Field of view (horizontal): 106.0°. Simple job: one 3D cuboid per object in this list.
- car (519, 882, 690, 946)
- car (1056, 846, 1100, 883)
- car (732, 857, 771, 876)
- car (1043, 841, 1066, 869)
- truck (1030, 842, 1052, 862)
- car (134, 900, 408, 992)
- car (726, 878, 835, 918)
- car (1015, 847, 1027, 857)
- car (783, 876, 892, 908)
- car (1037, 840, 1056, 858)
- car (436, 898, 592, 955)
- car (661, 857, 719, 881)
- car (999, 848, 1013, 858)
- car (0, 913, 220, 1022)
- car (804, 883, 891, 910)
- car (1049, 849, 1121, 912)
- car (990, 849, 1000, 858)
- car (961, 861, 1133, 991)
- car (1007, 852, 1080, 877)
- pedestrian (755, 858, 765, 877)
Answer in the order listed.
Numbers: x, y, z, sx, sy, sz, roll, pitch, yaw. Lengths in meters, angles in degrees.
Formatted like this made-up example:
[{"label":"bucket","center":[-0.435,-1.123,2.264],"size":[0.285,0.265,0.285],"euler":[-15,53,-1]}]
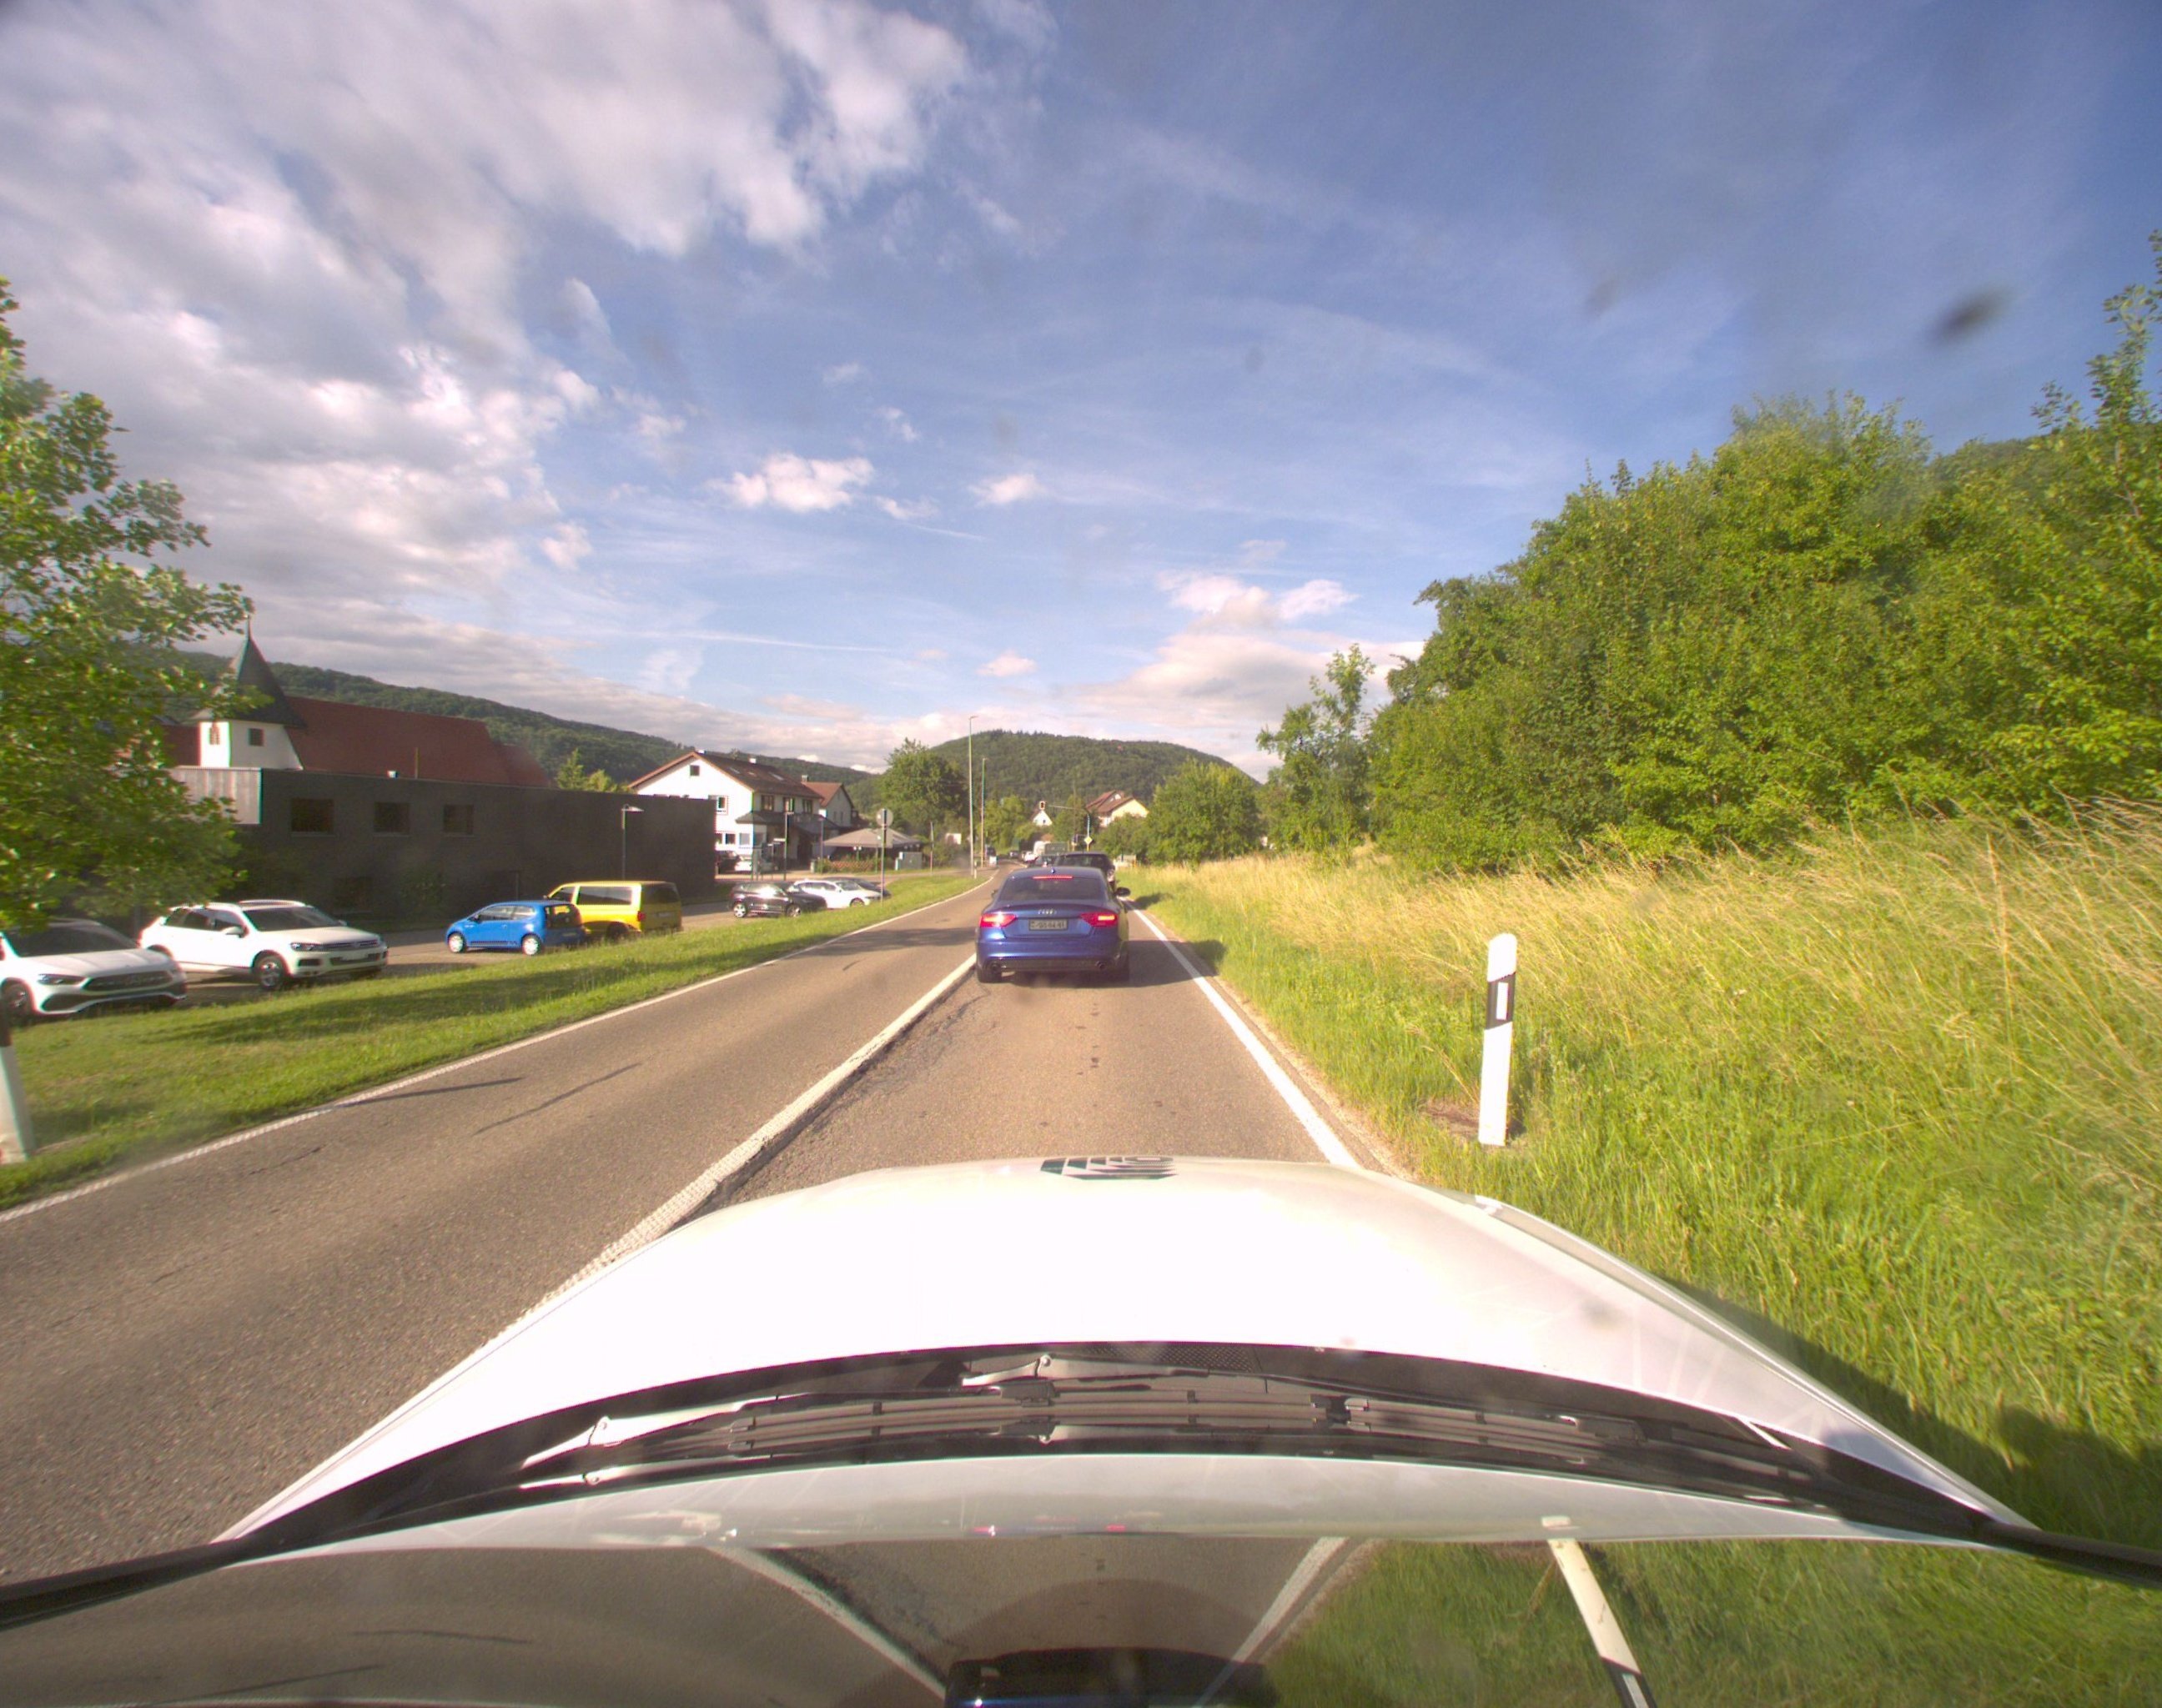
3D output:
[{"label":"car","center":[-15.086,1.844,25.835],"size":[4.576,1.868,2.008],"euler":[0,-1,15]},{"label":"car","center":[-0.089,0.474,38.223],"size":[1.797,1.639,4.467],"euler":[0,-1,3]},{"label":"car","center":[-27.123,1.020,67.154],"size":[1.550,1.450,3.999],"euler":[0,-1,0]},{"label":"car","center":[-2.150,0.101,65.272],"size":[1.743,2.195,3.994],"euler":[0,-1,-4]},{"label":"truck","center":[-4.218,-0.193,85.585],"size":[1.697,1.953,5.903],"euler":[0,-1,-9]},{"label":"car","center":[-17.476,1.916,17.666],"size":[4.508,1.703,2.006],"euler":[0,-1,12]},{"label":"car","center":[-13.118,1.906,35.669],"size":[3.998,1.637,2.006],"euler":[0,-1,12]},{"label":"car","center":[-9.188,-0.353,124.969],"size":[1.696,1.490,3.518],"euler":[0,-1,-7]},{"label":"car","center":[-11.952,1.846,40.060],"size":[4.782,1.493,1.887],"euler":[0,-1,11]},{"label":"car","center":[-3.428,-0.461,80.210],"size":[1.743,1.639,3.994],"euler":[0,-1,-4]},{"label":"car","center":[-16.153,2.024,23.268],"size":[3.472,1.472,1.637],"euler":[0,-1,9]},{"label":"car","center":[-28.670,1.095,59.819],"size":[3.461,1.662,1.734],"euler":[0,-1,-11]},{"label":"car","center":[-11.397,-0.186,124.288],"size":[1.699,1.490,3.511],"euler":[0,-1,-13]},{"label":"car","center":[-18.110,1.888,14.291],"size":[4.508,1.555,2.006],"euler":[0,-1,12]},{"label":"car","center":[-12.098,2.204,42.310],"size":[3.965,1.310,1.764],"euler":[0,-1,7]},{"label":"car","center":[0.205,0.711,23.218],"size":[1.738,1.639,4.005],"euler":[0,-1,4]},{"label":"car","center":[-15.859,-0.144,149.882],"size":[1.626,1.576,3.667],"euler":[0,-1,-10]},{"label":"car","center":[-0.247,0.811,10.846],"size":[1.787,1.388,4.005],"euler":[-1,-1,4]},{"label":"car","center":[-2.246,0.618,49.045],"size":[3.953,1.442,1.929],"euler":[0,-1,20]},{"label":"pedestrian","center":[-25.616,1.054,64.993],"size":[0.606,1.503,0.590],"euler":[0,-1,0]}]
